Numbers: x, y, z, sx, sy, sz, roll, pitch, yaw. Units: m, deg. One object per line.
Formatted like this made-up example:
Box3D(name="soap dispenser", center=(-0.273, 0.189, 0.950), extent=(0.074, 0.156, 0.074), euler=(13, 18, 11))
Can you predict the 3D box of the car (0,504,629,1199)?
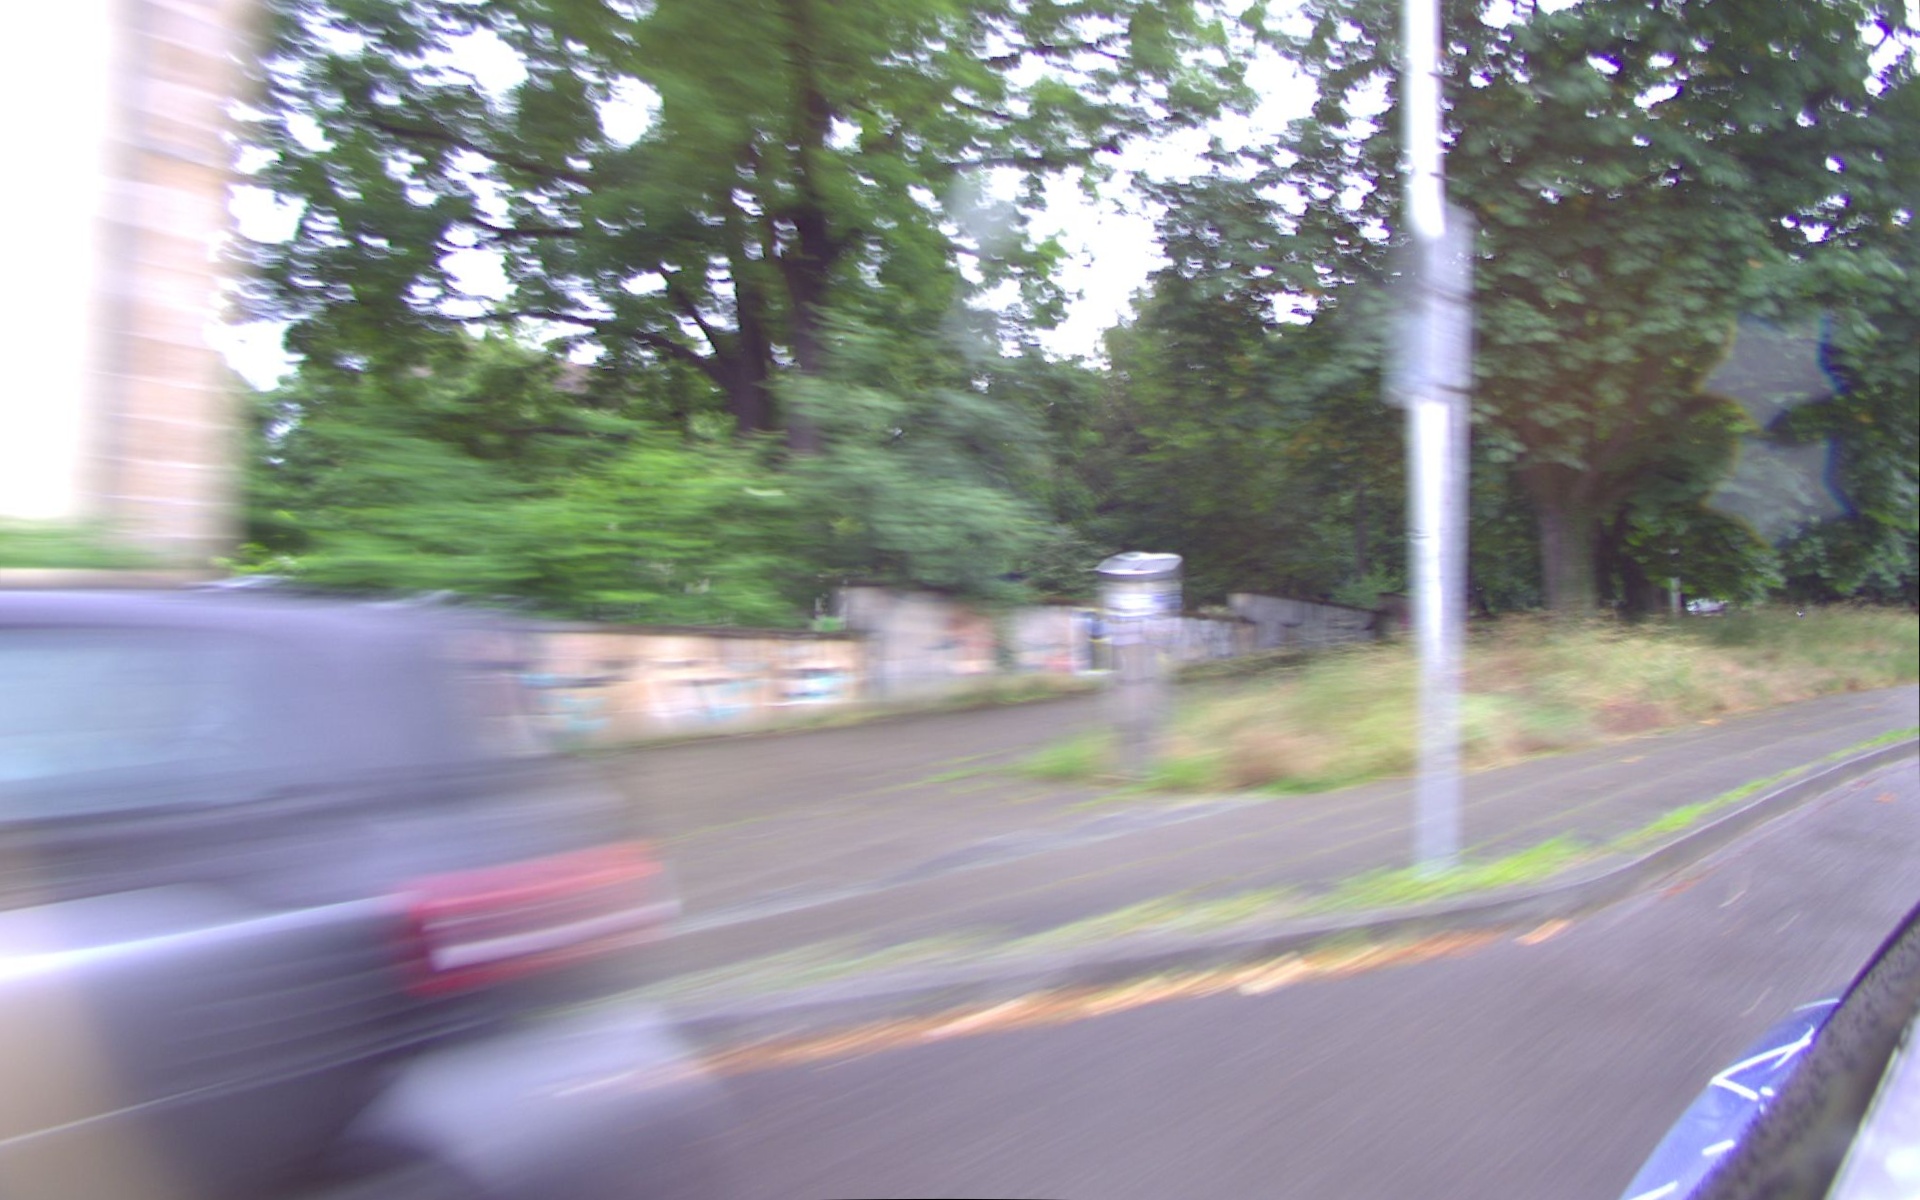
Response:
Box3D(name="car", center=(-2.100, 0.601, 1.713), extent=(2.666, 1.484, 1.605), euler=(0, 1, -29))
